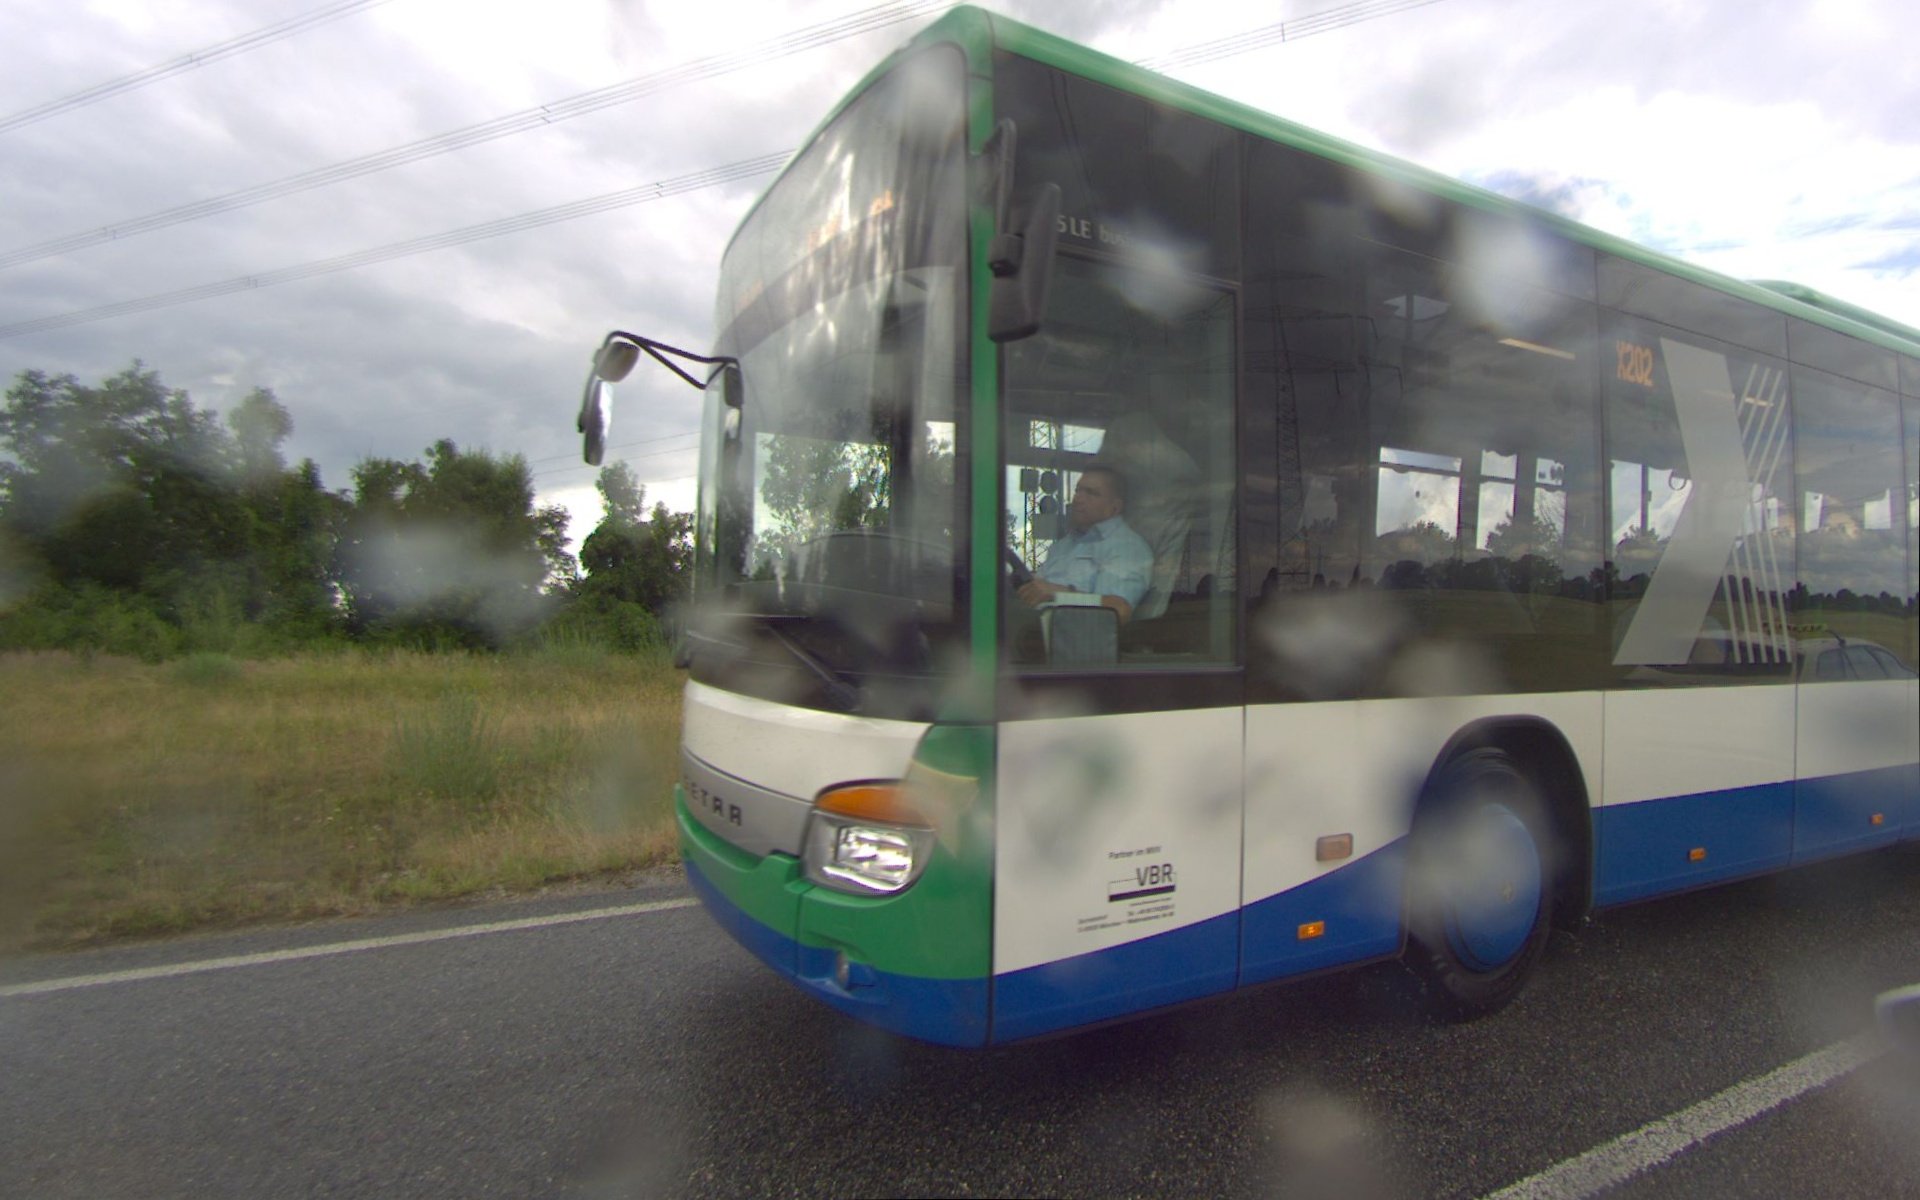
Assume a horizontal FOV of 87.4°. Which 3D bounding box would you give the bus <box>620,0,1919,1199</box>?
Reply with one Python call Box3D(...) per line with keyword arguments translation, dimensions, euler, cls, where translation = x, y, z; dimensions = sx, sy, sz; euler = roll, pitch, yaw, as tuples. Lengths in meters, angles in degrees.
Box3D(translation=(4.467, -0.073, 6.525), dimensions=(12.351, 3.341, 2.746), euler=(1, -1, -30), cls="bus")
